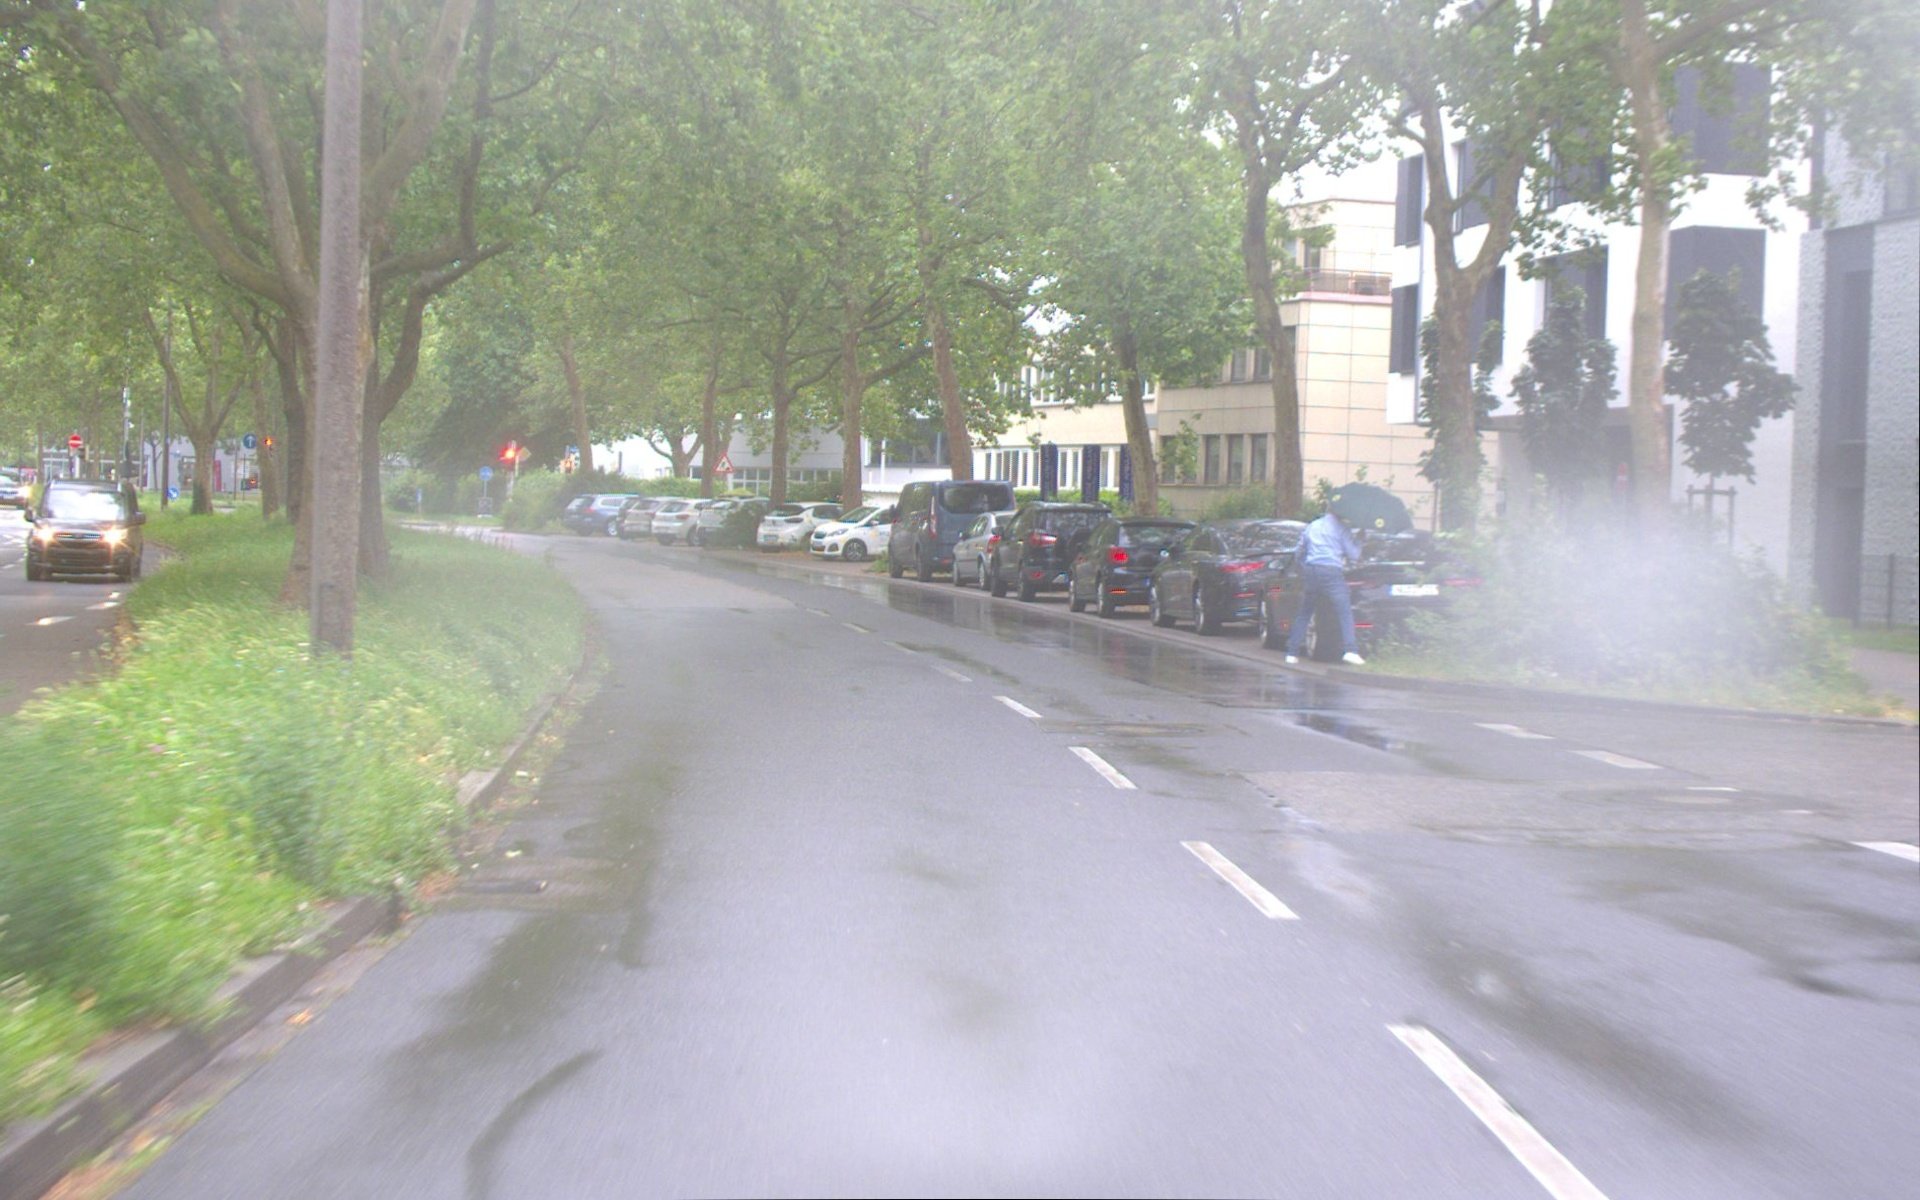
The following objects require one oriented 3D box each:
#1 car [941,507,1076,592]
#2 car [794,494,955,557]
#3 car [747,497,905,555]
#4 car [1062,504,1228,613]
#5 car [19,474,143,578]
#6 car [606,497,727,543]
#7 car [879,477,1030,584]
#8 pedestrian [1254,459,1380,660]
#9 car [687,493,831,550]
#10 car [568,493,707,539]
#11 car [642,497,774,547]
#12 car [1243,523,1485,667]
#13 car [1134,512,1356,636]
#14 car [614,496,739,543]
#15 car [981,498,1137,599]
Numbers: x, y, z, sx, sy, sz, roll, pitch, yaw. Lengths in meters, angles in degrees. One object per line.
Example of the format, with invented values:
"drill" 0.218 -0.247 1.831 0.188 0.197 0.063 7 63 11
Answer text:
"car" 0.868 -0.964 63.833 1.743 1.464 4.307 1 1 -9
"car" -2.158 -1.884 86.938 3.634 1.499 1.749 0 3 -28
"car" -3.539 -1.963 91.094 4.027 1.423 1.748 0 2 -44
"car" 2.641 -0.637 50.006 1.743 1.471 4.084 1 1 -6
"car" -15.635 -1.349 61.281 2.029 1.730 4.956 1 1 -14
"car" -9.690 -2.630 113.707 3.683 1.411 1.748 0 2 -45
"car" -0.165 -1.420 69.071 2.120 2.021 5.529 1 1 -9
"pedestrian" 3.643 -0.418 35.062 0.897 2.007 0.833 0 2 -43
"car" -5.845 -2.284 100.206 1.748 1.534 4.028 3 2 44
"car" -11.100 -2.899 118.424 4.482 1.454 1.749 1 2 -35
"car" -7.687 -2.372 105.107 3.682 1.411 1.748 0 2 -41
"car" 4.329 -0.106 37.551 1.743 1.423 4.861 -1 2 -4
"car" 3.573 -0.376 44.061 1.743 1.423 5.105 1 1 -8
"car" -9.094 -2.574 110.475 3.683 1.411 1.775 0 2 -45
"car" 1.595 -0.888 57.043 1.743 1.561 4.373 1 1 -9
